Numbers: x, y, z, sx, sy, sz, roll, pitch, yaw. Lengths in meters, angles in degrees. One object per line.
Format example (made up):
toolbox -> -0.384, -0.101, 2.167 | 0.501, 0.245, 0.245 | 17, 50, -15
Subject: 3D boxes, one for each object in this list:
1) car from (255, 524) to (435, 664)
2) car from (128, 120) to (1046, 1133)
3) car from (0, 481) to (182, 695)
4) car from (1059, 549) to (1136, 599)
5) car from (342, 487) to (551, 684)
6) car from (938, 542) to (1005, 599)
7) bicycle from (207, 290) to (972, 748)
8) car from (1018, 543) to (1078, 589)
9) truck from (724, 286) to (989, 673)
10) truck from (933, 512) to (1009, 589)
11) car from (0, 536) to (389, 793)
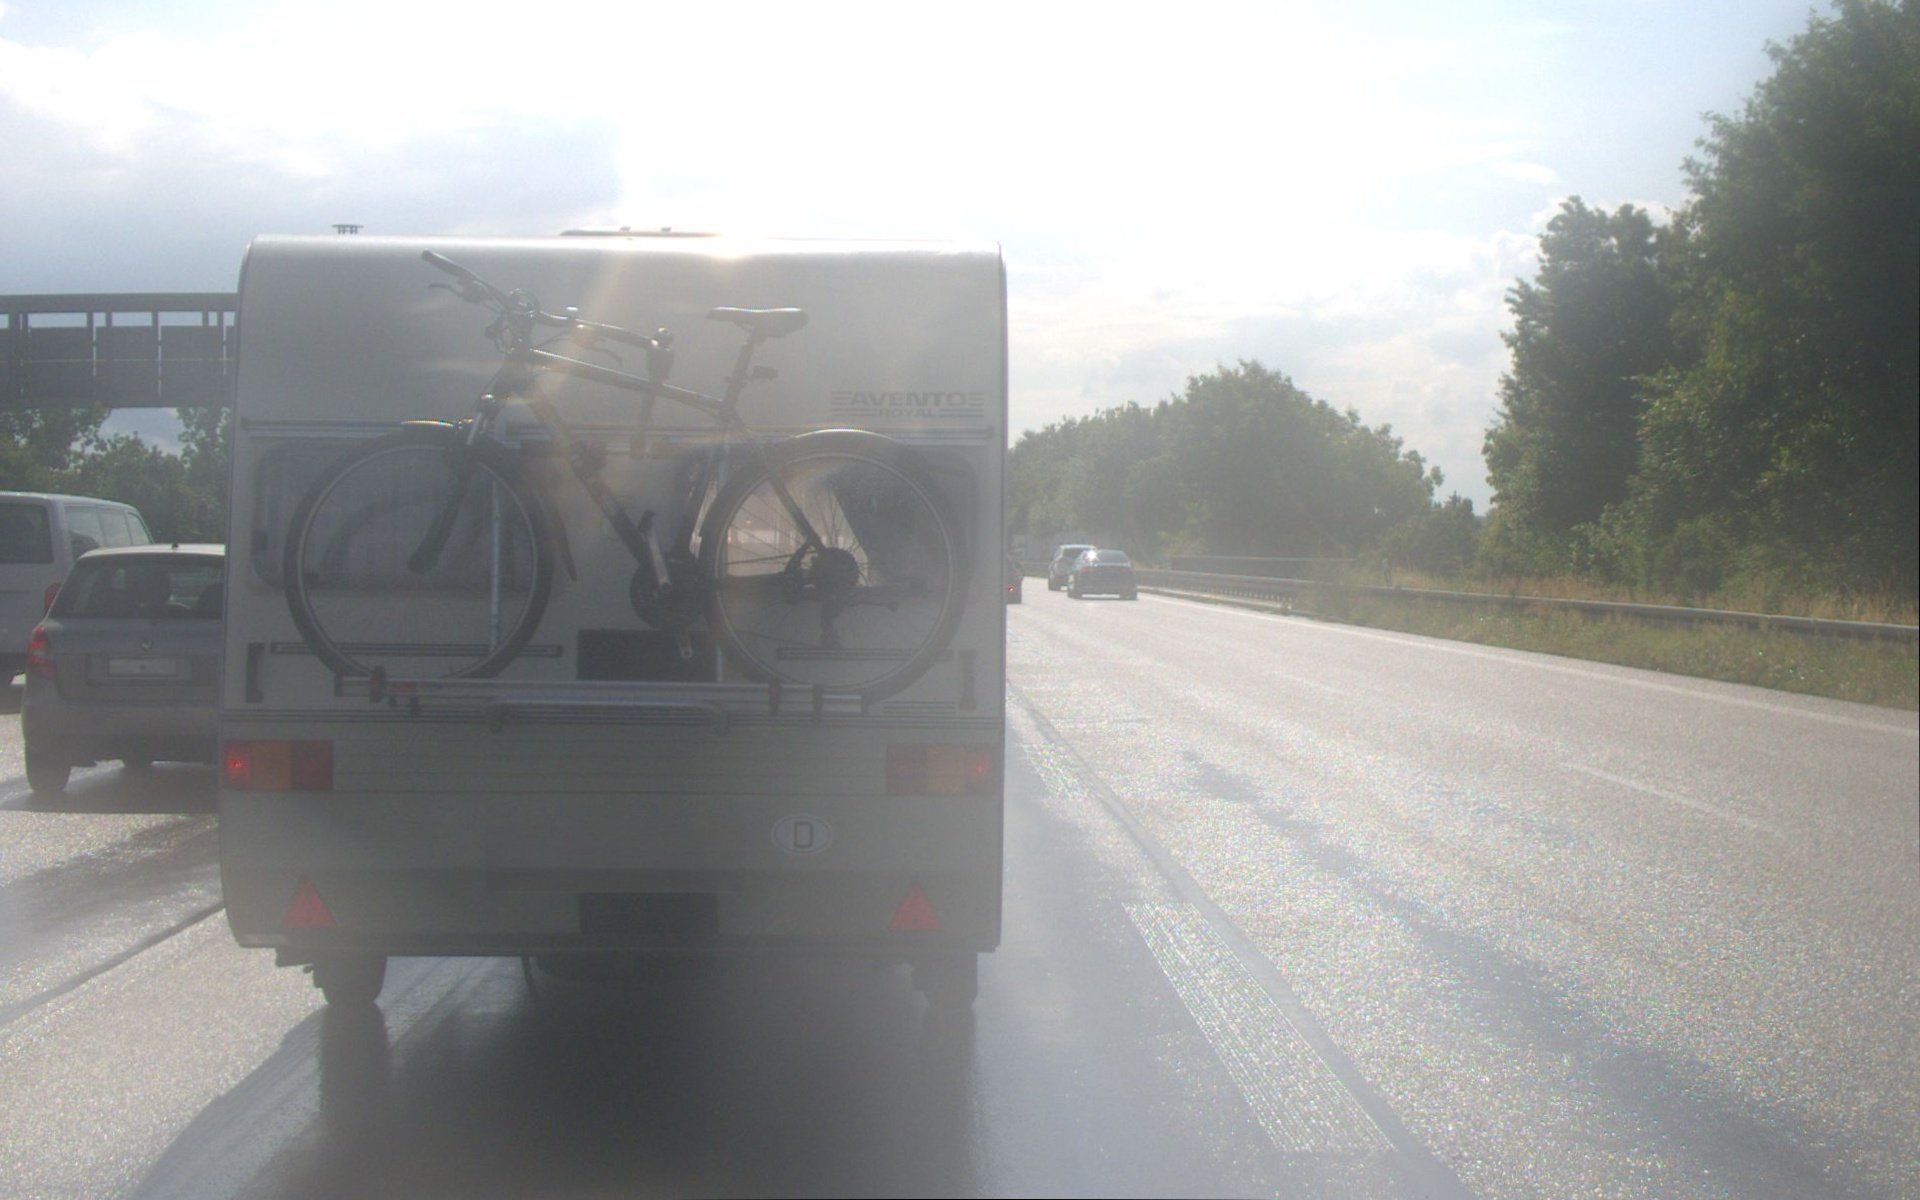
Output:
car -> -7.721, -0.097, 43.479 | 1.771, 1.656, 4.001 | 1, 1, -3
car -> -1.003, 0.049, 11.149 | 2.410, 2.665, 4.000 | 1, 1, 0
car -> -9.036, -0.160, 33.587 | 1.848, 1.927, 5.017 | 0, 1, -2
car -> 4.208, -0.823, 105.810 | 1.876, 1.489, 4.001 | 1, 1, -5
car -> -5.505, -0.173, 37.296 | 1.876, 2.007, 4.001 | 1, 1, -3
car -> 0.301, -0.838, 96.612 | 1.835, 1.552, 4.000 | 1, 1, 0
bicycle -> -0.944, -0.209, 8.935 | 1.934, 1.137, 0.384 | 1, 1, 1
car -> 3.160, -1.232, 124.138 | 1.876, 1.623, 4.000 | 1, 1, -3
truck -> -1.425, -1.520, 46.499 | 3.146, 4.610, 10.737 | 0, 1, -2
truck -> 0.336, -1.652, 113.871 | 2.415, 2.435, 6.053 | 0, 1, 0
car -> -4.881, 0.331, 21.531 | 1.987, 1.453, 3.827 | 0, 1, 0
